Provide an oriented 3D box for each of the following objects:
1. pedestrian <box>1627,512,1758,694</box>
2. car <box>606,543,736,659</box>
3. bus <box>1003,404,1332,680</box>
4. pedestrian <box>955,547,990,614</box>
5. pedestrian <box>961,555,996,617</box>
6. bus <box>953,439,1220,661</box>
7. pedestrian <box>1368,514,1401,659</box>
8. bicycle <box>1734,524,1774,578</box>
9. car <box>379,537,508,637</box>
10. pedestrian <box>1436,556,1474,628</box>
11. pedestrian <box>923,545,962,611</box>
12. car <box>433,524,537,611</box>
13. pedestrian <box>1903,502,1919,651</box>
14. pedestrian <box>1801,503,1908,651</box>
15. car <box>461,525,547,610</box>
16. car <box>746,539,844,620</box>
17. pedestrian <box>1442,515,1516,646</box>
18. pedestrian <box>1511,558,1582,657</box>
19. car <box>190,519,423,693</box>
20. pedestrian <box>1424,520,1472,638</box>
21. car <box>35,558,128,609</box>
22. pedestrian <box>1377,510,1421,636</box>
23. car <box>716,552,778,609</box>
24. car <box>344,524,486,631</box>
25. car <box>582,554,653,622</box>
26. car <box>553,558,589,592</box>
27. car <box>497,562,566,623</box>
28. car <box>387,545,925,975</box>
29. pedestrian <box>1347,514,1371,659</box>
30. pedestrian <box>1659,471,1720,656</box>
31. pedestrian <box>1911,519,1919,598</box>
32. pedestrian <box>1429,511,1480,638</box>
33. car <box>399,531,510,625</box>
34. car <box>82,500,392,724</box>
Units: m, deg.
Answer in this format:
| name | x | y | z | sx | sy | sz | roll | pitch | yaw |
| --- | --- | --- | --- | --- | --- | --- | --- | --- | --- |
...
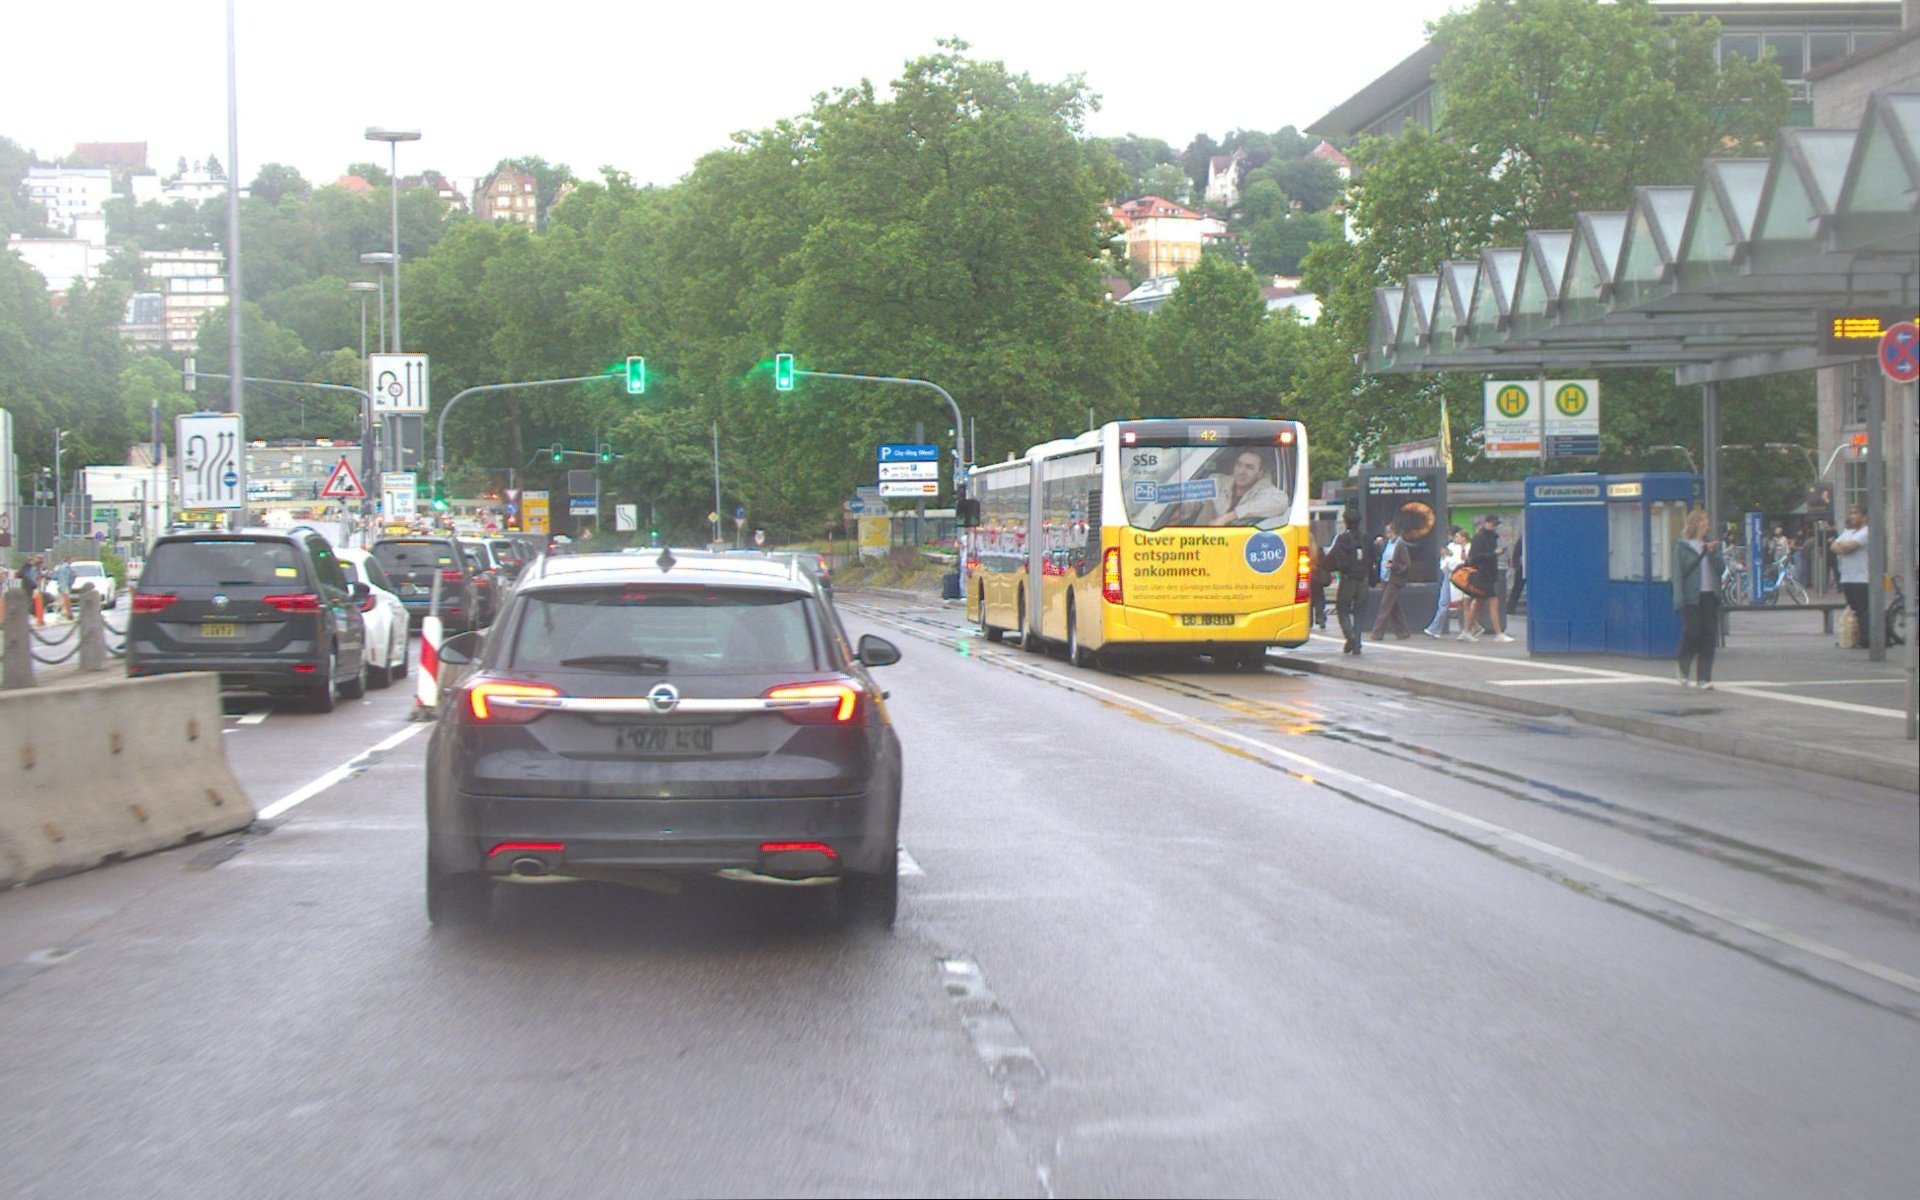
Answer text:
| name | x | y | z | sx | sy | sz | roll | pitch | yaw |
| --- | --- | --- | --- | --- | --- | --- | --- | --- | --- |
| pedestrian | 6.894 | 0.017 | 32.371 | 0.759 | 1.684 | 0.999 | -1 | 1 | -25 |
| car | -4.361 | -0.016 | 52.373 | 1.830 | 1.680 | 4.134 | -1 | 1 | -3 |
| bus | 2.526 | -0.715 | 45.298 | 3.141 | 3.236 | 9.136 | 0 | 0 | -4 |
| pedestrian | 0.336 | -0.526 | 93.670 | 0.745 | 1.798 | 0.710 | -1 | 1 | -20 |
| pedestrian | 0.502 | -0.390 | 95.255 | 0.875 | 1.685 | 0.758 | -1 | 1 | -5 |
| bus | 1.827 | -0.755 | 54.442 | 3.113 | 3.194 | 9.243 | 0 | 0 | -5 |
| pedestrian | 5.387 | -0.181 | 43.684 | 0.347 | 1.830 | 0.533 | 0 | 1 | 0 |
| bicycle | 23.574 | -1.461 | 102.118 | 0.793 | 1.556 | 2.131 | 0 | 1 | 3 |
| car | -9.372 | -0.261 | 62.688 | 2.049 | 1.705 | 5.056 | -1 | 1 | -6 |
| pedestrian | 8.472 | -0.143 | 58.869 | 0.514 | 1.228 | 0.770 | -1 | 1 | -1 |
| pedestrian | -0.491 | -0.616 | 96.561 | 0.786 | 1.832 | 0.950 | -1 | 1 | -19 |
| car | -10.187 | -0.708 | 73.967 | 1.993 | 1.781 | 4.848 | -1 | 1 | -5 |
| pedestrian | 11.256 | -0.270 | 39.181 | 0.748 | 1.689 | 0.902 | 0 | 1 | -1 |
| pedestrian | 11.038 | -0.290 | 42.437 | 0.786 | 1.798 | 0.992 | -1 | 1 | -32 |
| car | -10.507 | -0.771 | 79.461 | 1.713 | 1.885 | 4.611 | -1 | 1 | -5 |
| car | -3.623 | -0.450 | 74.908 | 1.851 | 1.711 | 4.001 | 0 | 0 | -7 |
| pedestrian | 7.355 | -0.278 | 48.671 | 0.985 | 1.830 | 0.835 | 0 | 1 | 12 |
| pedestrian | 10.796 | 0.138 | 63.297 | 0.989 | 1.786 | 0.789 | -1 | 1 | -33 |
| car | -6.872 | 0.025 | 36.604 | 1.993 | 1.700 | 4.833 | -1 | 1 | -6 |
| pedestrian | 7.175 | -0.309 | 50.560 | 0.609 | 1.717 | 0.592 | 0 | 1 | 0 |
| car | -26.154 | -0.493 | 102.486 | 1.993 | 1.463 | 4.001 | 0 | 0 | -4 |
| pedestrian | 6.450 | -0.400 | 50.503 | 0.565 | 1.830 | 0.569 | 0 | 1 | -1 |
| car | -6.110 | -0.562 | 98.270 | 1.674 | 1.576 | 3.240 | 0 | 0 | -5 |
| car | -8.911 | -0.384 | 56.539 | 1.993 | 1.648 | 4.642 | -1 | 1 | -6 |
| car | -10.332 | -0.369 | 103.493 | 1.983 | 2.007 | 4.370 | 0 | 0 | -8 |
| car | -18.930 | -1.216 | 167.237 | 1.706 | 1.660 | 3.707 | 0 | 0 | -7 |
| car | -13.364 | -0.244 | 106.979 | 1.993 | 1.839 | 5.064 | 0 | 0 | -8 |
| car | -1.176 | 0.527 | 14.521 | 1.877 | 1.503 | 4.852 | 0 | 1 | -3 |
| pedestrian | 5.060 | -0.173 | 43.636 | 0.243 | 1.830 | 0.512 | 0 | 1 | 0 |
| pedestrian | 8.791 | -0.440 | 41.435 | 0.590 | 2.207 | 0.587 | 0 | 1 | -2 |
| pedestrian | 21.947 | -0.935 | 77.526 | 0.731 | 1.786 | 0.789 | -1 | 1 | -5 |
| pedestrian | 7.159 | -0.369 | 49.761 | 0.695 | 1.830 | 0.555 | 0 | 1 | 12 |
| car | -9.960 | -0.453 | 68.008 | 1.993 | 1.781 | 4.455 | -1 | 1 | -6 |
| car | -6.495 | 0.064 | 31.408 | 1.993 | 1.856 | 4.833 | -1 | 1 | -3 |
